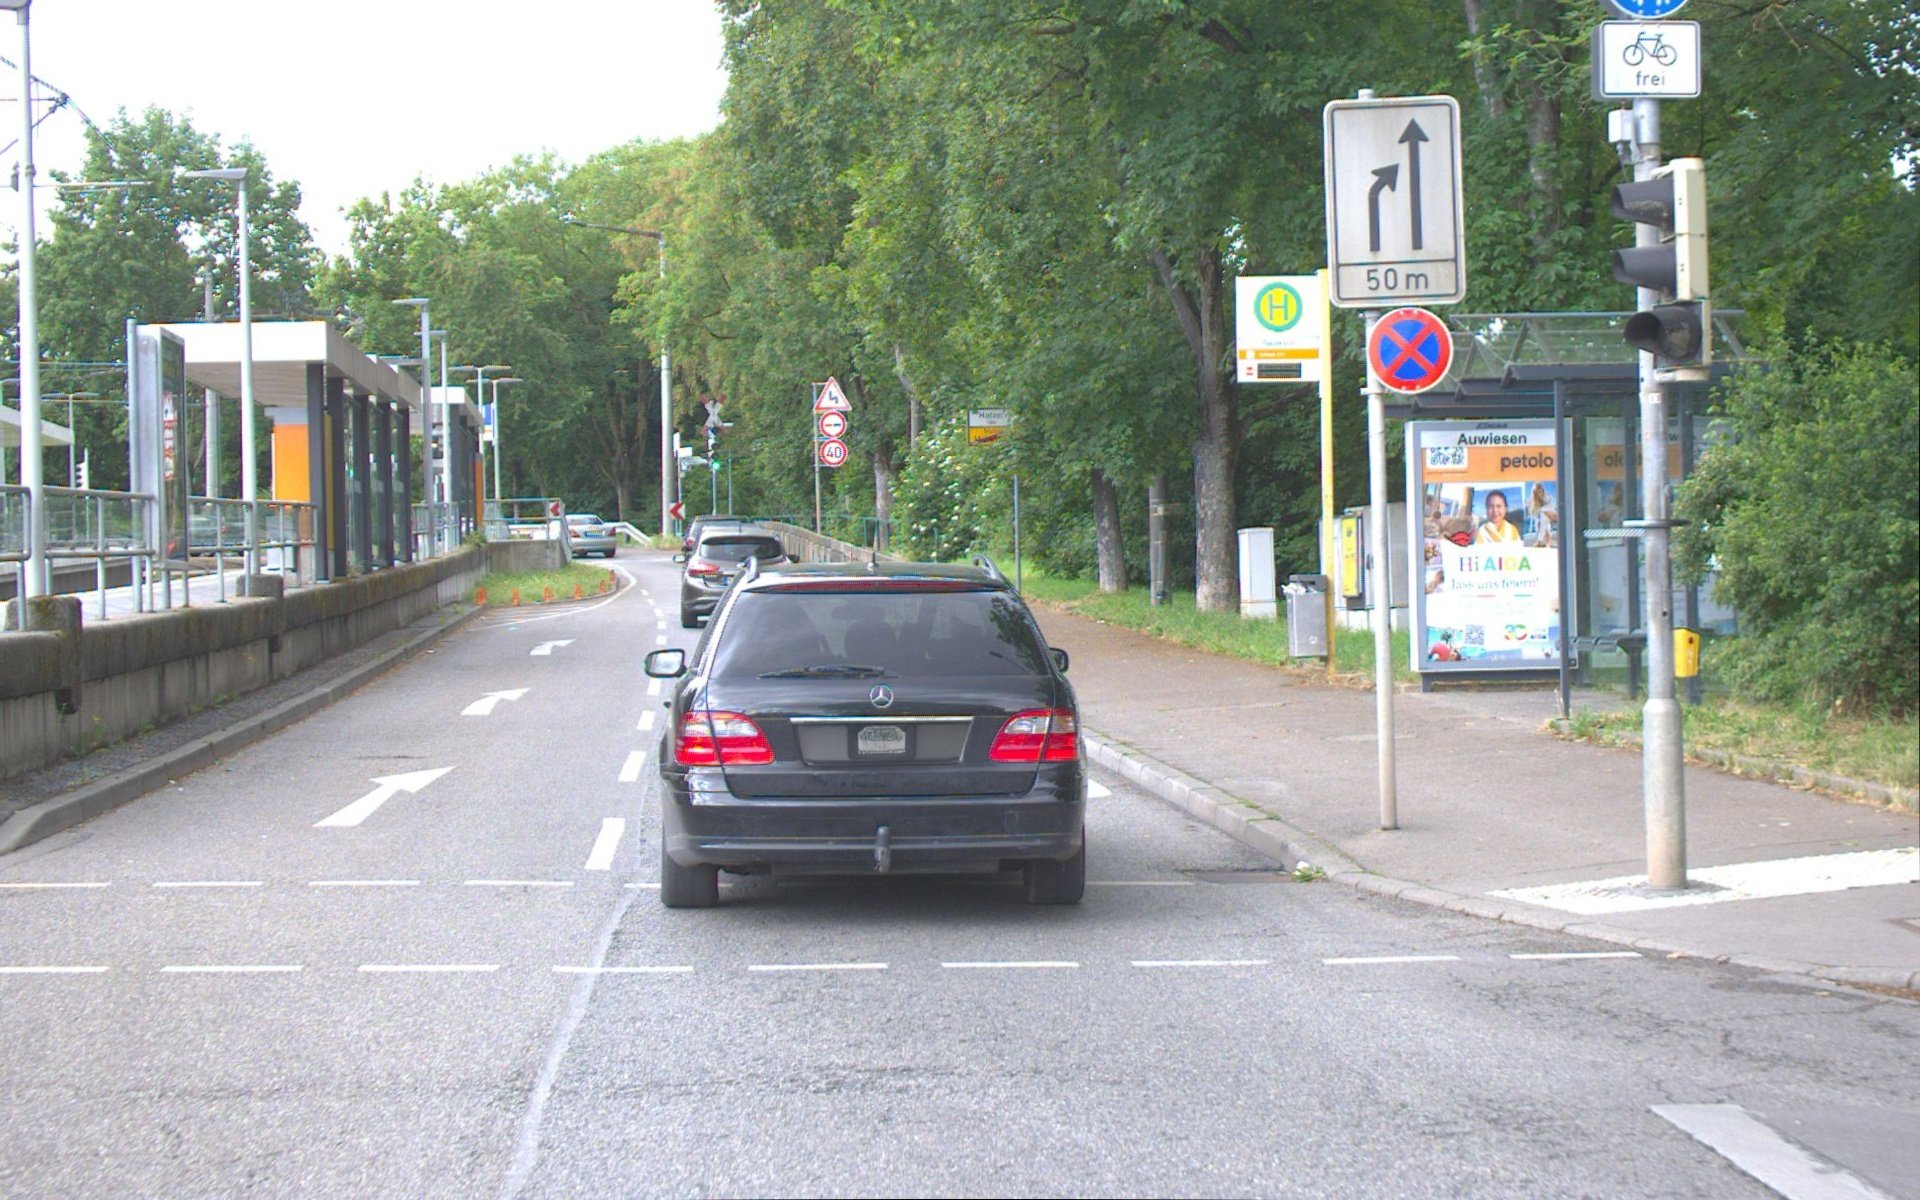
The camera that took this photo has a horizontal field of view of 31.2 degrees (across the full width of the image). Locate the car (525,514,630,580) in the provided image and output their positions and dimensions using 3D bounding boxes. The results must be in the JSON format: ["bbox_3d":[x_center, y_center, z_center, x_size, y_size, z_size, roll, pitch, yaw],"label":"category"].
[{"bbox_3d":[-11.396,-1.576,102.295,1.993,1.886,4.001,1,0,-23],"label":"car"}]

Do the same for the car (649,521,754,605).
[{"bbox_3d":[-6.197,-0.872,82.146,1.993,1.911,4.001,1,0,-11],"label":"car"}]

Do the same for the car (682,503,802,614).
[{"bbox_3d":[-3.394,-0.636,53.786,1.781,1.642,4.000,1,0,-3],"label":"car"}]

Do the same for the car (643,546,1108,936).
[{"bbox_3d":[-0.510,0.520,15.462,1.781,1.520,4.001,0,1,-6],"label":"car"}]
